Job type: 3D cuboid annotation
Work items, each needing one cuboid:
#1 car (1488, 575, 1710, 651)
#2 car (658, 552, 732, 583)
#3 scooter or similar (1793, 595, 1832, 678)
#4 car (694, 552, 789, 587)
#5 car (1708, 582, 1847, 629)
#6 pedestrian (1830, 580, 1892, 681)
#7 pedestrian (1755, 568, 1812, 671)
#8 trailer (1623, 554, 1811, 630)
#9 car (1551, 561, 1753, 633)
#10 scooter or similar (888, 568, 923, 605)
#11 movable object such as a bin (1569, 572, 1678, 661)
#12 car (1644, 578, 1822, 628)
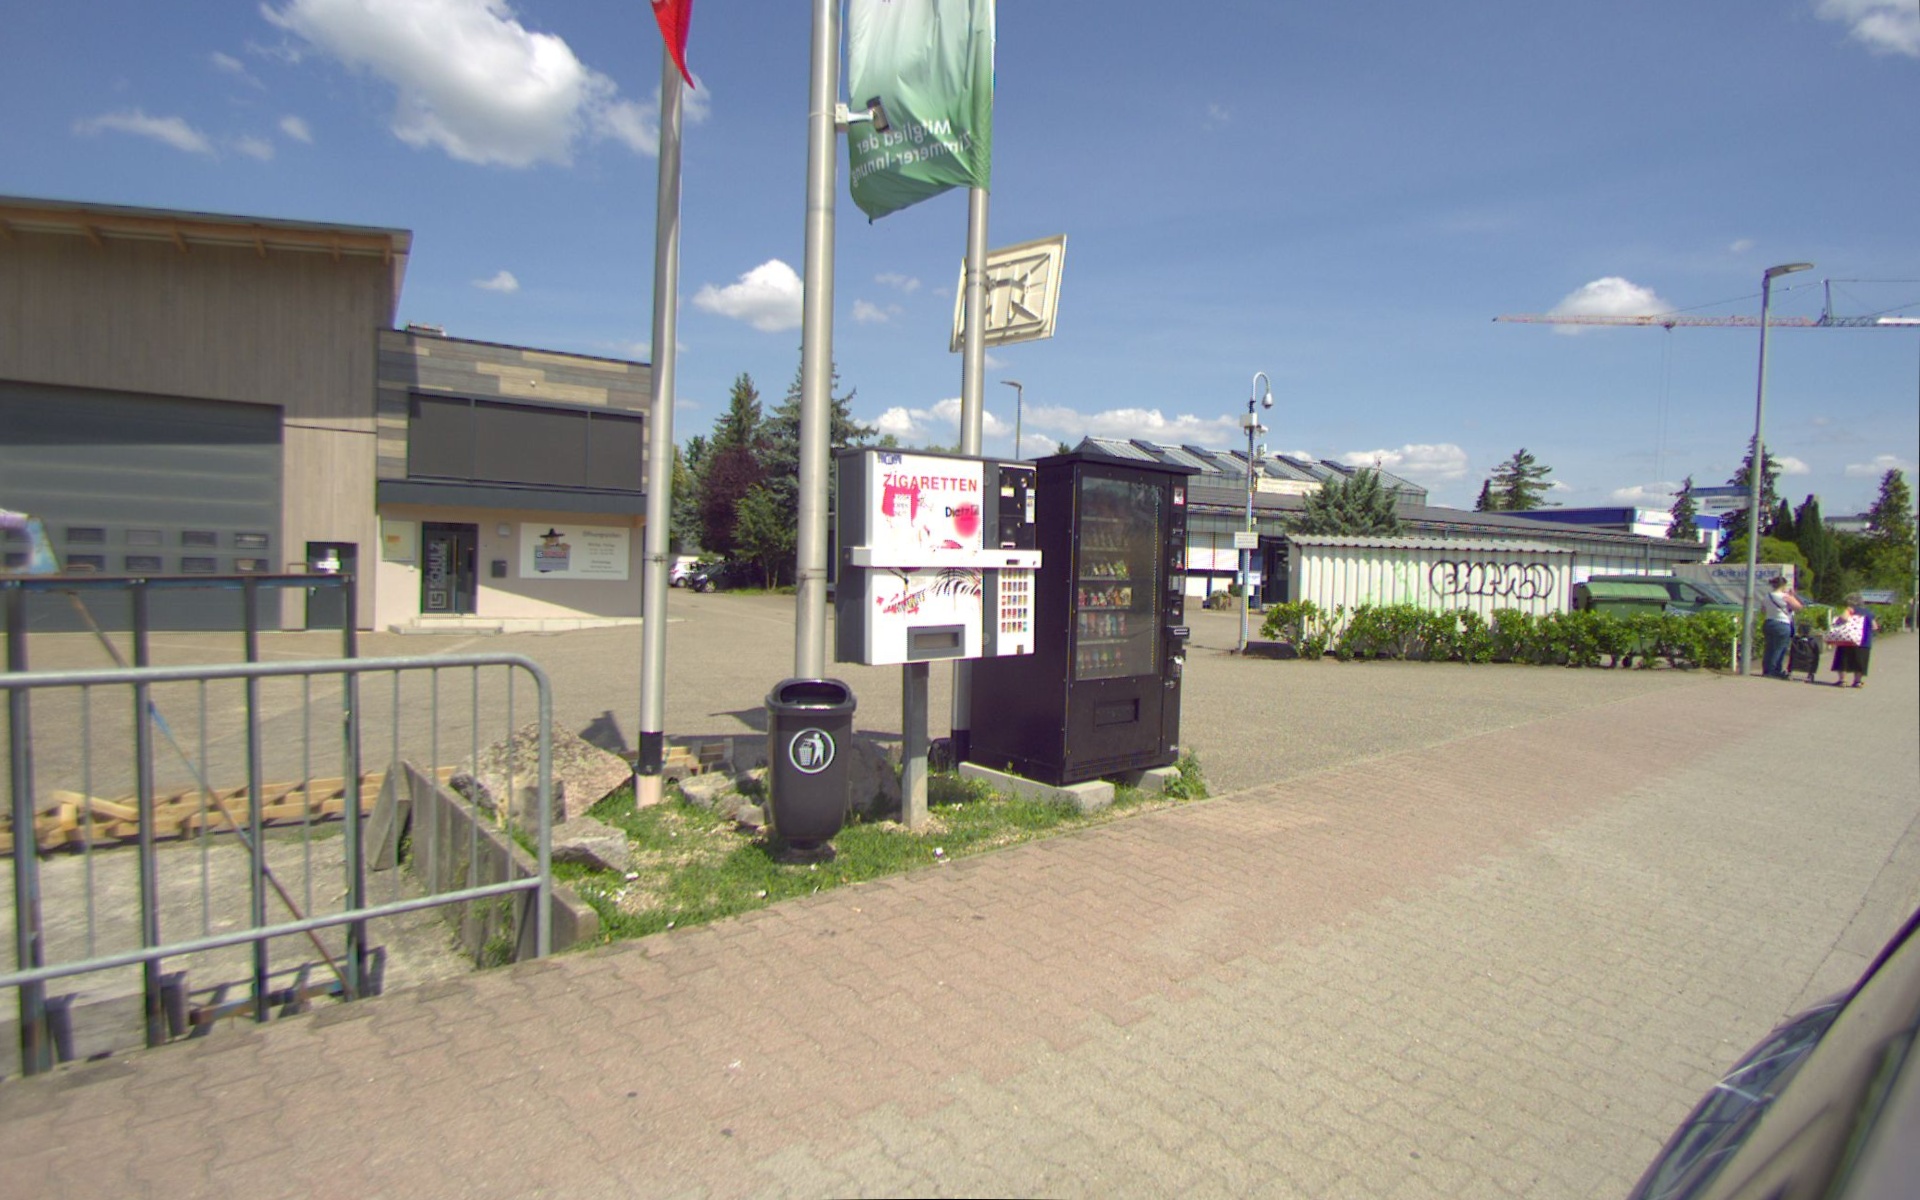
[{"bbox_3d":[14.242,0.232,22.714,1.785,1.473,3.853,0,2,-40],"label":"car"},{"bbox_3d":[-15.274,-1.879,58.411,3.798,1.693,1.682,0,2,-39],"label":"car"},{"bbox_3d":[12.993,0.544,15.422,0.391,1.212,0.334,-2,4,-41],"label":"scooter or similar"},{"bbox_3d":[-11.264,-1.604,52.256,4.535,1.692,1.760,-2,4,-41],"label":"car"},{"bbox_3d":[28.135,0.157,34.892,1.737,1.418,3.363,0,3,-37],"label":"car"},{"bbox_3d":[13.340,0.438,14.992,0.574,1.422,0.566,-2,5,-42],"label":"pedestrian"},{"bbox_3d":[12.953,0.295,15.926,0.502,1.558,0.536,-2,5,-42],"label":"pedestrian"},{"bbox_3d":[21.750,-0.254,29.180,1.965,2.039,3.994,2,1,-41],"label":"trailer"},{"bbox_3d":[18.759,-0.149,27.584,1.771,1.653,4.220,-3,5,-42],"label":"car"},{"bbox_3d":[-2.072,-0.528,38.240,0.907,1.337,1.117,-1,4,-31],"label":"scooter or similar"},{"bbox_3d":[11.493,0.271,17.587,1.247,1.476,1.045,1,1,11],"label":"movable object such as a bin"},{"bbox_3d":[25.605,0.043,33.641,1.785,1.458,4.478,0,2,-44],"label":"car"}]
